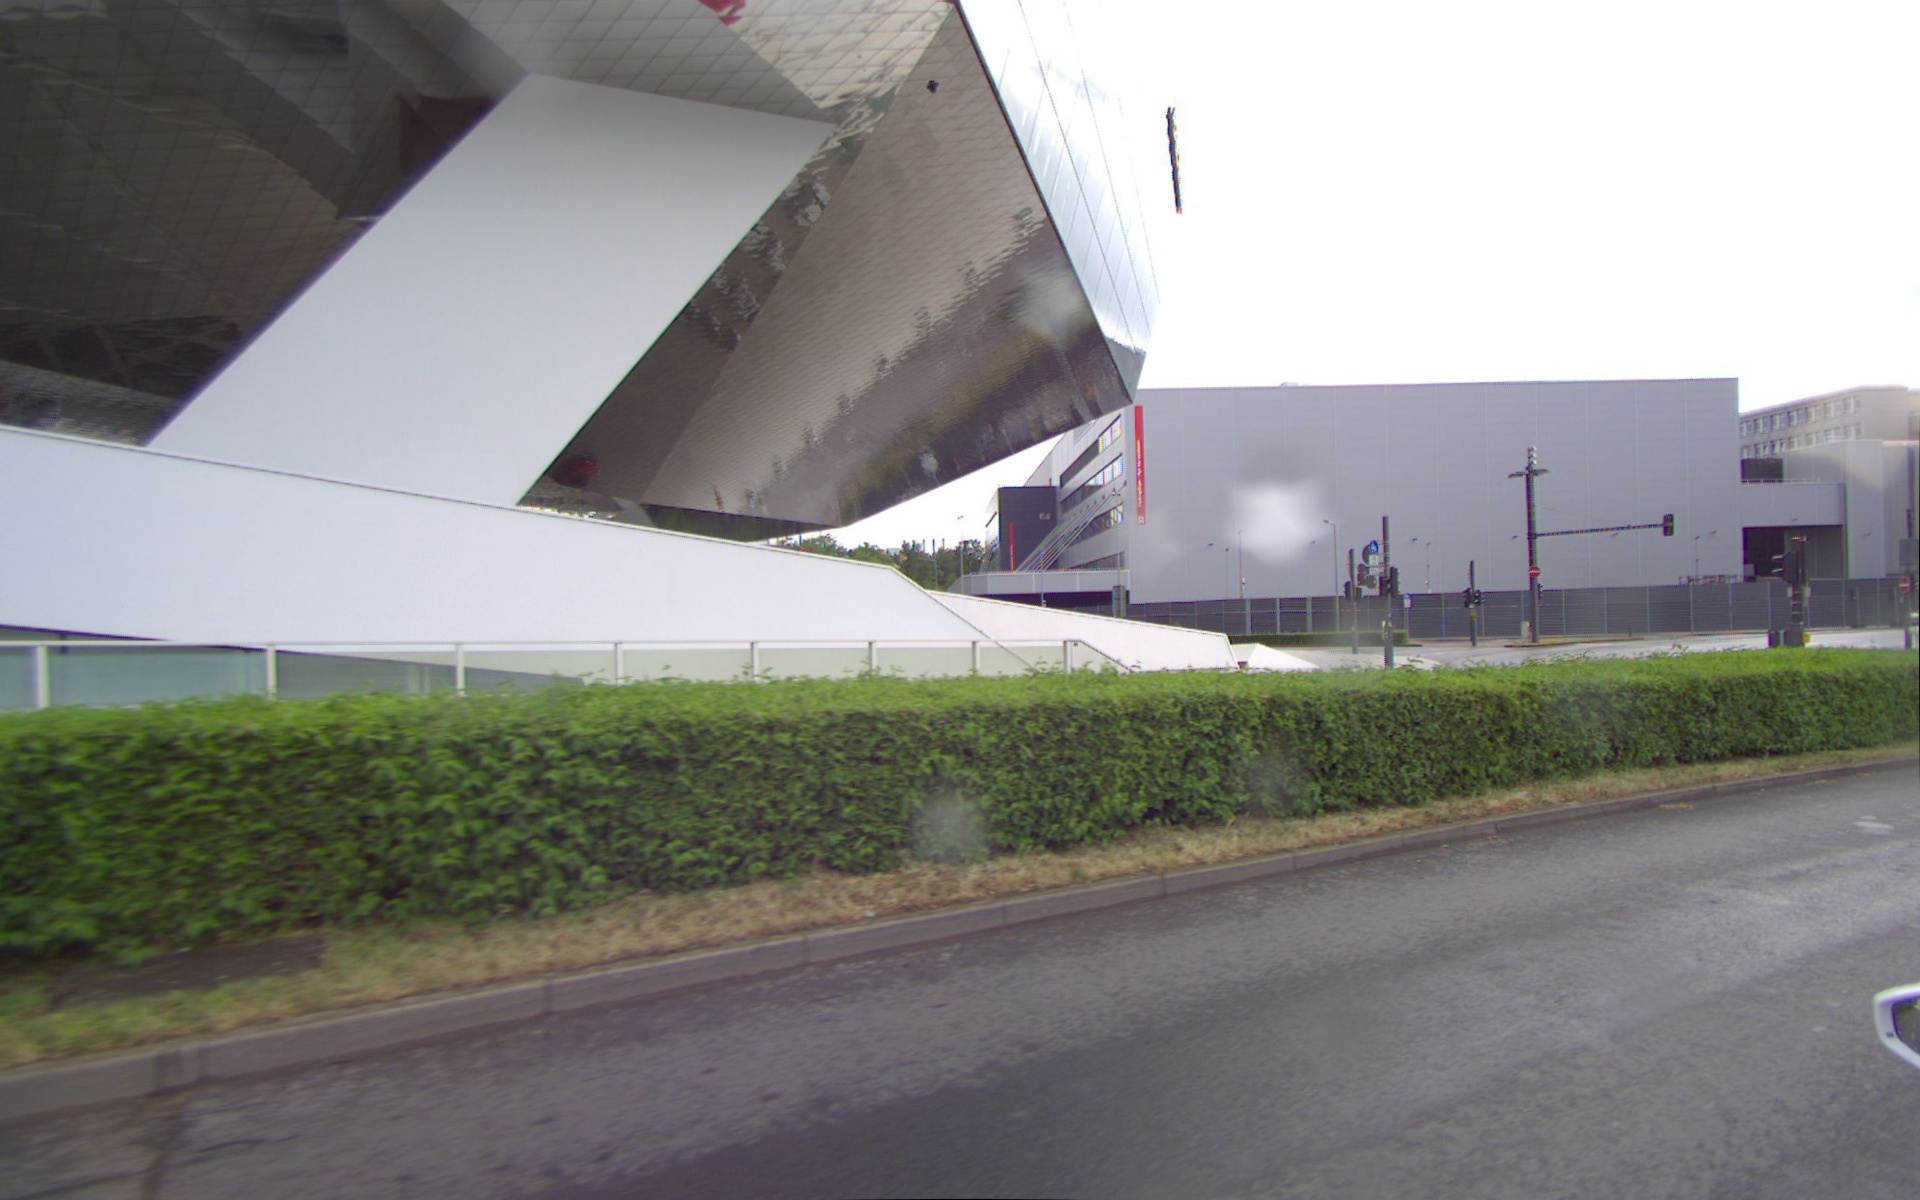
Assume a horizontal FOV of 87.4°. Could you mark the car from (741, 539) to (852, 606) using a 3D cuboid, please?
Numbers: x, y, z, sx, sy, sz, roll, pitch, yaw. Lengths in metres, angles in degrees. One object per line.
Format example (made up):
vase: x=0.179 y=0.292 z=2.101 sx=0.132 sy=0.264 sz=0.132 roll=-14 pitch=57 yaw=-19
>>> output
car: x=-4.578 y=-0.709 z=28.806 sx=1.605 sy=1.258 sz=4.107 roll=0 pitch=-8 yaw=14

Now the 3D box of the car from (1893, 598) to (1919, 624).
car: x=56.745 y=0.652 z=58.850 sx=4.459 sy=1.491 sz=1.825 roll=0 pitch=-1 yaw=-30
